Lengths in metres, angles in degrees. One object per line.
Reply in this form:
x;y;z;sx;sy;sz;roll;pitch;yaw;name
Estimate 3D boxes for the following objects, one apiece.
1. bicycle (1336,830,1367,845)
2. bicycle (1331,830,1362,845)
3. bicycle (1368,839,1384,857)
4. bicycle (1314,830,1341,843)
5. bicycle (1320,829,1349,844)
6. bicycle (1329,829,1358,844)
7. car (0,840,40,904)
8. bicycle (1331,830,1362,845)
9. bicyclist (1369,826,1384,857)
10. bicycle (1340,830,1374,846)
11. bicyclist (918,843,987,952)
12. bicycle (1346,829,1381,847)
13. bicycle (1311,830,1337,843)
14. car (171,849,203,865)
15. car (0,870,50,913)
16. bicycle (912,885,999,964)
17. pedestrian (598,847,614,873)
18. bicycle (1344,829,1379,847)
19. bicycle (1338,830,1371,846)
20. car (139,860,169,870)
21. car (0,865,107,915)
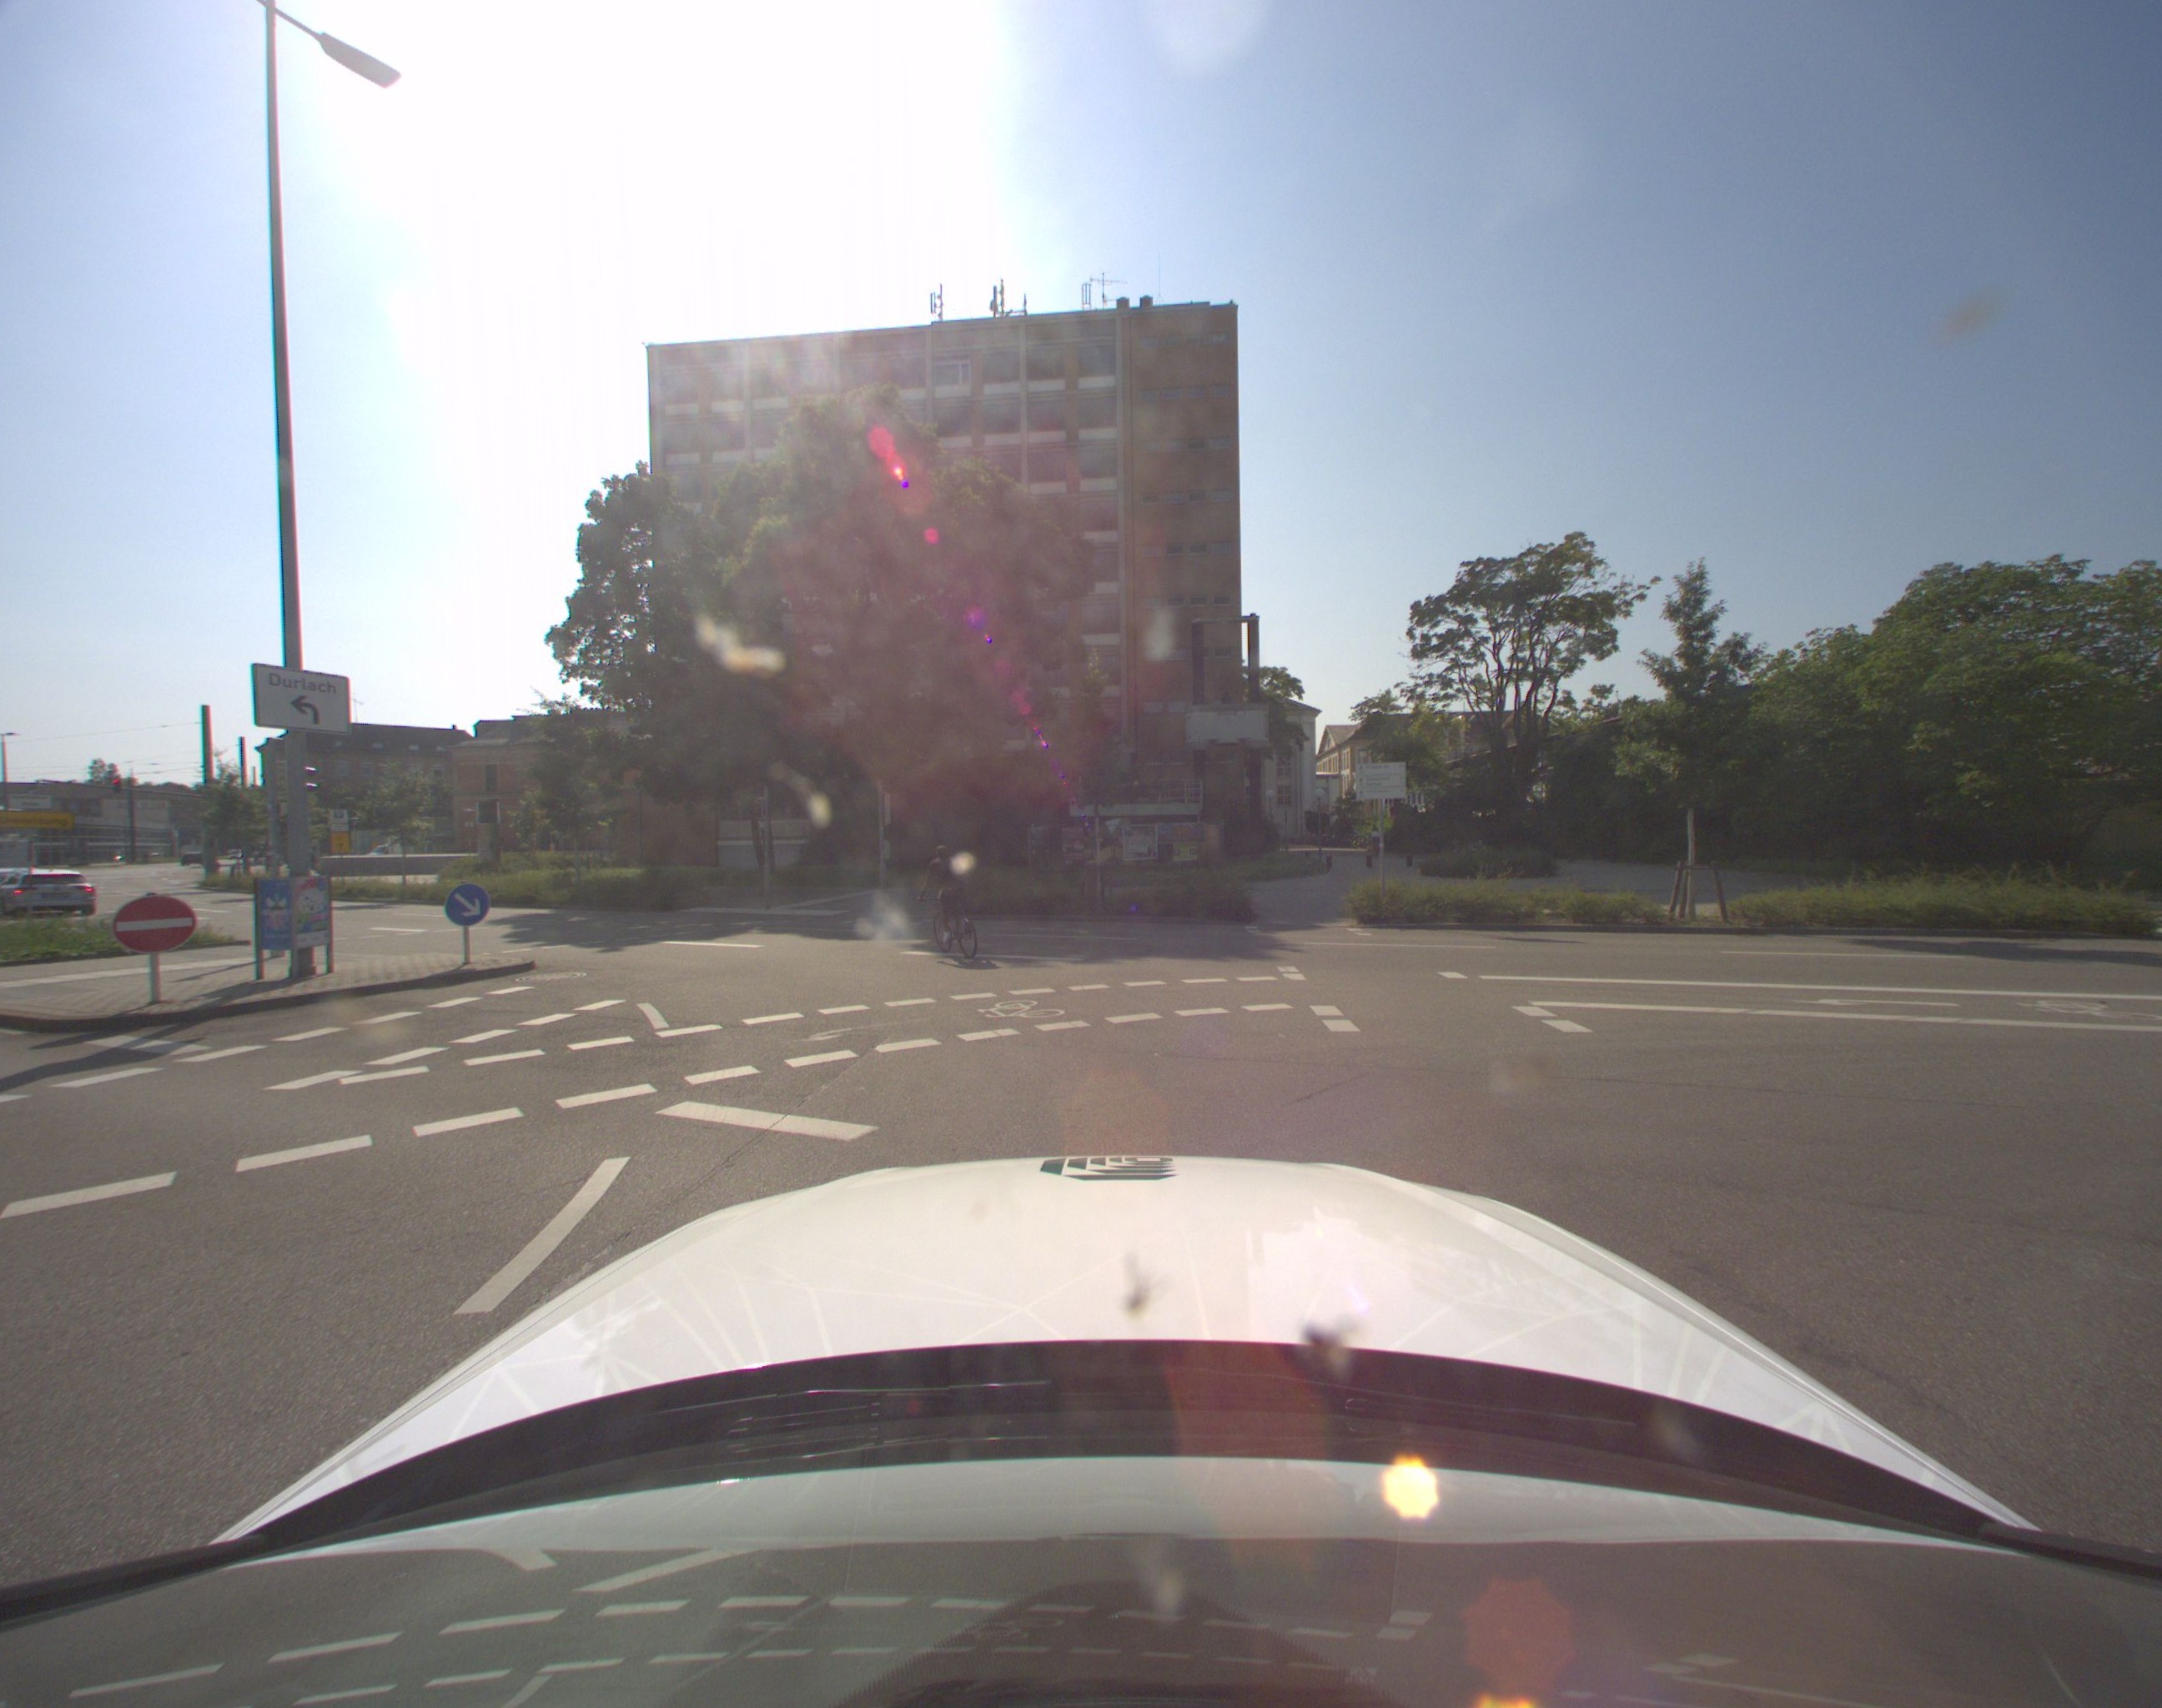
22.572;-1.356;67.945;2.411;1.234;0.722;1;1;11;bicycle
22.414;-1.387;68.830;2.411;1.239;0.722;1;1;11;bicycle
15.249;-0.311;42.117;0.668;0.879;1.407;-1;1;15;bicycle
24.019;-1.717;79.308;2.411;1.262;0.722;1;1;11;bicycle
22.559;-1.563;72.609;2.411;1.281;0.722;1;1;11;bicycle
23.003;-1.510;71.400;2.411;1.281;0.722;1;1;11;bicycle
-44.777;0.765;33.387;4.623;2.549;2.210;-1;0;34;car
22.742;-1.451;69.840;2.411;1.228;0.722;1;1;11;bicycle
15.262;-0.650;42.118;0.645;1.601;0.924;-1;1;15;bicyclist
21.943;-1.250;64.769;2.411;1.223;0.722;1;1;11;bicycle
-1.999;0.635;12.566;0.775;1.578;0.983;-2;1;-24;bicyclist
21.207;-1.192;61.152;2.411;1.318;0.722;1;1;11;bicycle
23.960;-1.717;80.390;2.411;1.280;0.722;1;1;11;bicycle
-116.613;0.386;106.310;2.434;2.013;4.720;-2;2;-43;car
-37.677;1.291;28.500;3.891;1.403;1.503;-1;0;32;car
-1.977;1.035;12.575;0.775;0.976;2.133;-2;1;-24;bicycle
-30.322;0.383;51.969;0.527;1.628;0.620;-1;1;23;pedestrian
21.418;-1.247;62.271;2.411;1.318;0.722;1;1;11;bicycle
22.176;-1.310;66.026;2.411;1.223;0.722;1;1;11;bicycle
-140.738;1.635;123.664;2.008;1.442;3.957;-2;1;-34;car
-32.062;1.091;25.367;3.587;1.387;1.701;-1;0;32;car
